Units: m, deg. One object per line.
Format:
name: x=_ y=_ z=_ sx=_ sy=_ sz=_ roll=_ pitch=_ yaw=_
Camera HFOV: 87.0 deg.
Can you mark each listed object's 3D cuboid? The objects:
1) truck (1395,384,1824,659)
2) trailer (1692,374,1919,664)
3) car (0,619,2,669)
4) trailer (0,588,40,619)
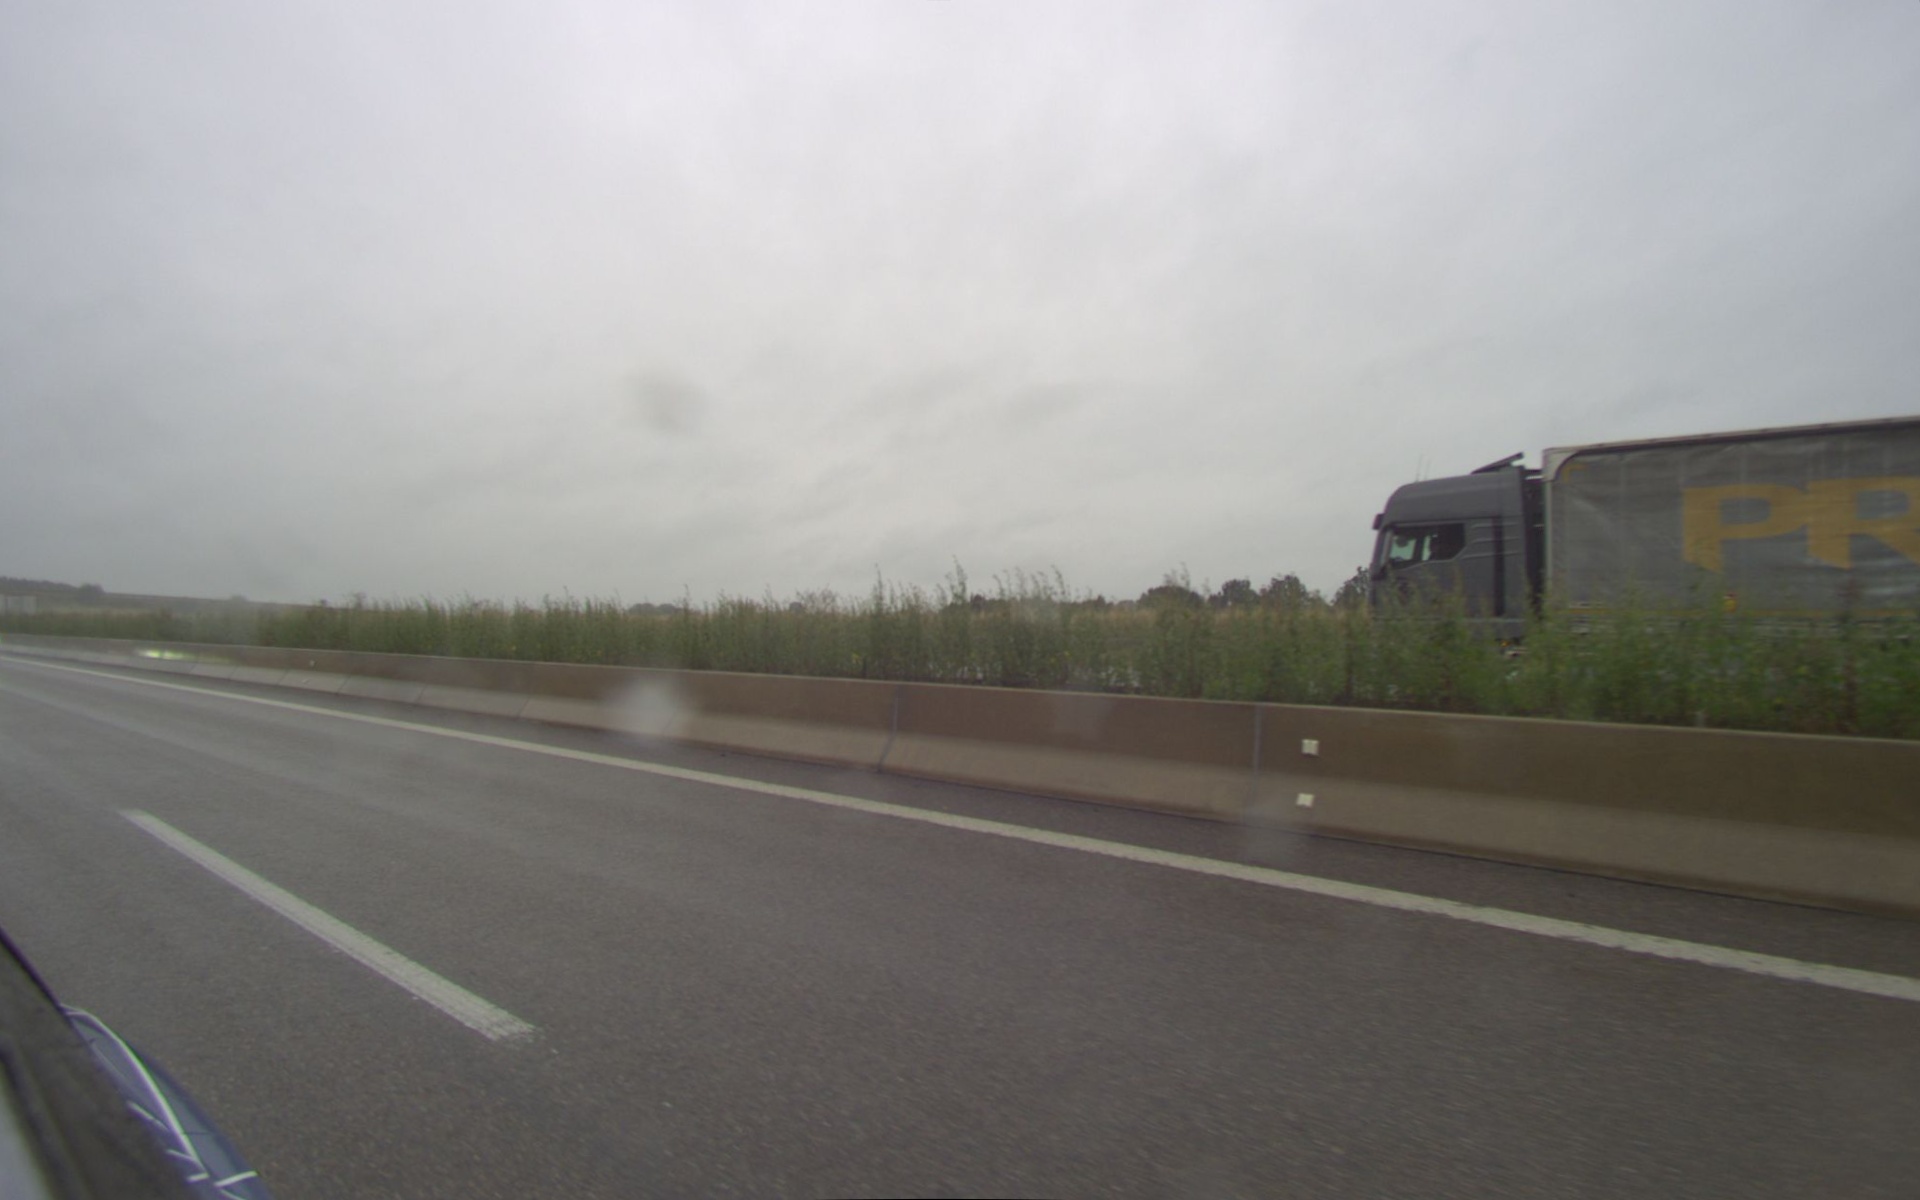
truck: x=10.320 y=-1.064 z=16.325 sx=5.462 sy=3.649 sz=2.918 roll=1 pitch=0 yaw=42
trailer: x=15.998 y=-0.994 z=11.302 sx=12.485 sy=3.667 sz=2.961 roll=1 pitch=0 yaw=41
car: x=-33.410 y=1.445 z=33.480 sx=3.995 sy=1.630 sz=1.974 roll=-1 pitch=-1 yaw=39
trailer: x=-102.968 y=0.335 z=109.185 sx=15.701 sy=3.168 sz=2.959 roll=1 pitch=0 yaw=39
